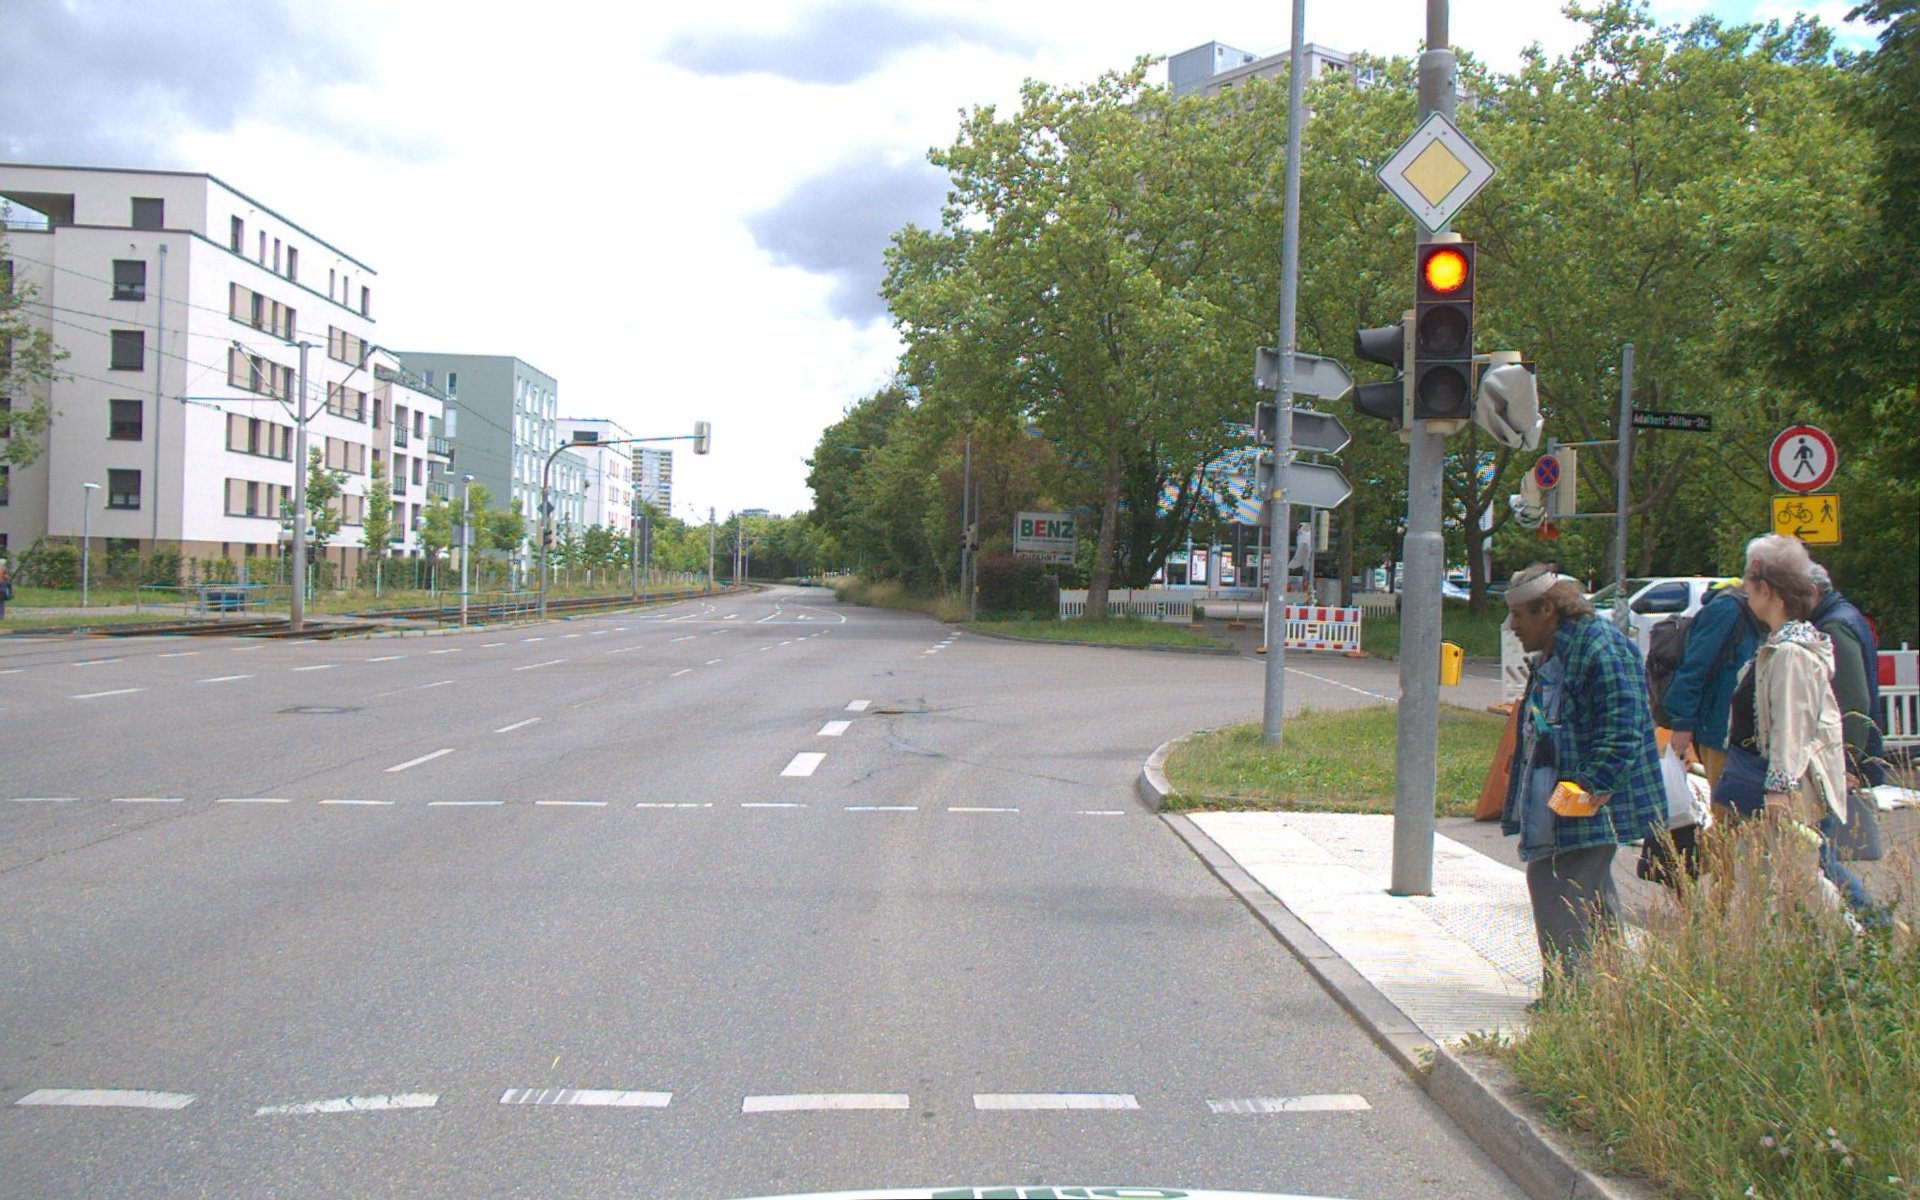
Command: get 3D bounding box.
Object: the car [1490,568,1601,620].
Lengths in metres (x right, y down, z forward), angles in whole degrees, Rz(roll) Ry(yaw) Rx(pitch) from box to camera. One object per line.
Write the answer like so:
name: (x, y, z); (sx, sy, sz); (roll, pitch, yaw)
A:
car: (23.930, -0.253, 67.702); (1.974, 2.049, 3.957); (0, 1, -32)

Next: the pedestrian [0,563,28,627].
pedestrian: (-23.238, -0.122, 40.203); (0.814, 1.542, 0.636); (1, 0, -1)

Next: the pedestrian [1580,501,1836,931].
pedestrian: (3.437, 0.476, 7.599); (0.990, 1.805, 0.947); (1, 1, 27)

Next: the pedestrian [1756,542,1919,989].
pedestrian: (3.649, 0.615, 6.557); (0.851, 1.663, 0.765); (1, 1, 25)

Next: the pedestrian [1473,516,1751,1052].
pedestrian: (2.211, 0.576, 5.710); (0.805, 1.700, 0.734); (1, 1, 16)

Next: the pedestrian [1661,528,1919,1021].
pedestrian: (3.050, 0.581, 6.099); (0.806, 1.668, 0.733); (1, 1, 25)

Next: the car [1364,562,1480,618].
car: (17.518, -0.378, 62.832); (1.974, 2.049, 3.957); (0, 1, -32)

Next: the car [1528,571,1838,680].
car: (13.422, 0.450, 30.866); (4.976, 1.906, 1.947); (1, 0, -5)
